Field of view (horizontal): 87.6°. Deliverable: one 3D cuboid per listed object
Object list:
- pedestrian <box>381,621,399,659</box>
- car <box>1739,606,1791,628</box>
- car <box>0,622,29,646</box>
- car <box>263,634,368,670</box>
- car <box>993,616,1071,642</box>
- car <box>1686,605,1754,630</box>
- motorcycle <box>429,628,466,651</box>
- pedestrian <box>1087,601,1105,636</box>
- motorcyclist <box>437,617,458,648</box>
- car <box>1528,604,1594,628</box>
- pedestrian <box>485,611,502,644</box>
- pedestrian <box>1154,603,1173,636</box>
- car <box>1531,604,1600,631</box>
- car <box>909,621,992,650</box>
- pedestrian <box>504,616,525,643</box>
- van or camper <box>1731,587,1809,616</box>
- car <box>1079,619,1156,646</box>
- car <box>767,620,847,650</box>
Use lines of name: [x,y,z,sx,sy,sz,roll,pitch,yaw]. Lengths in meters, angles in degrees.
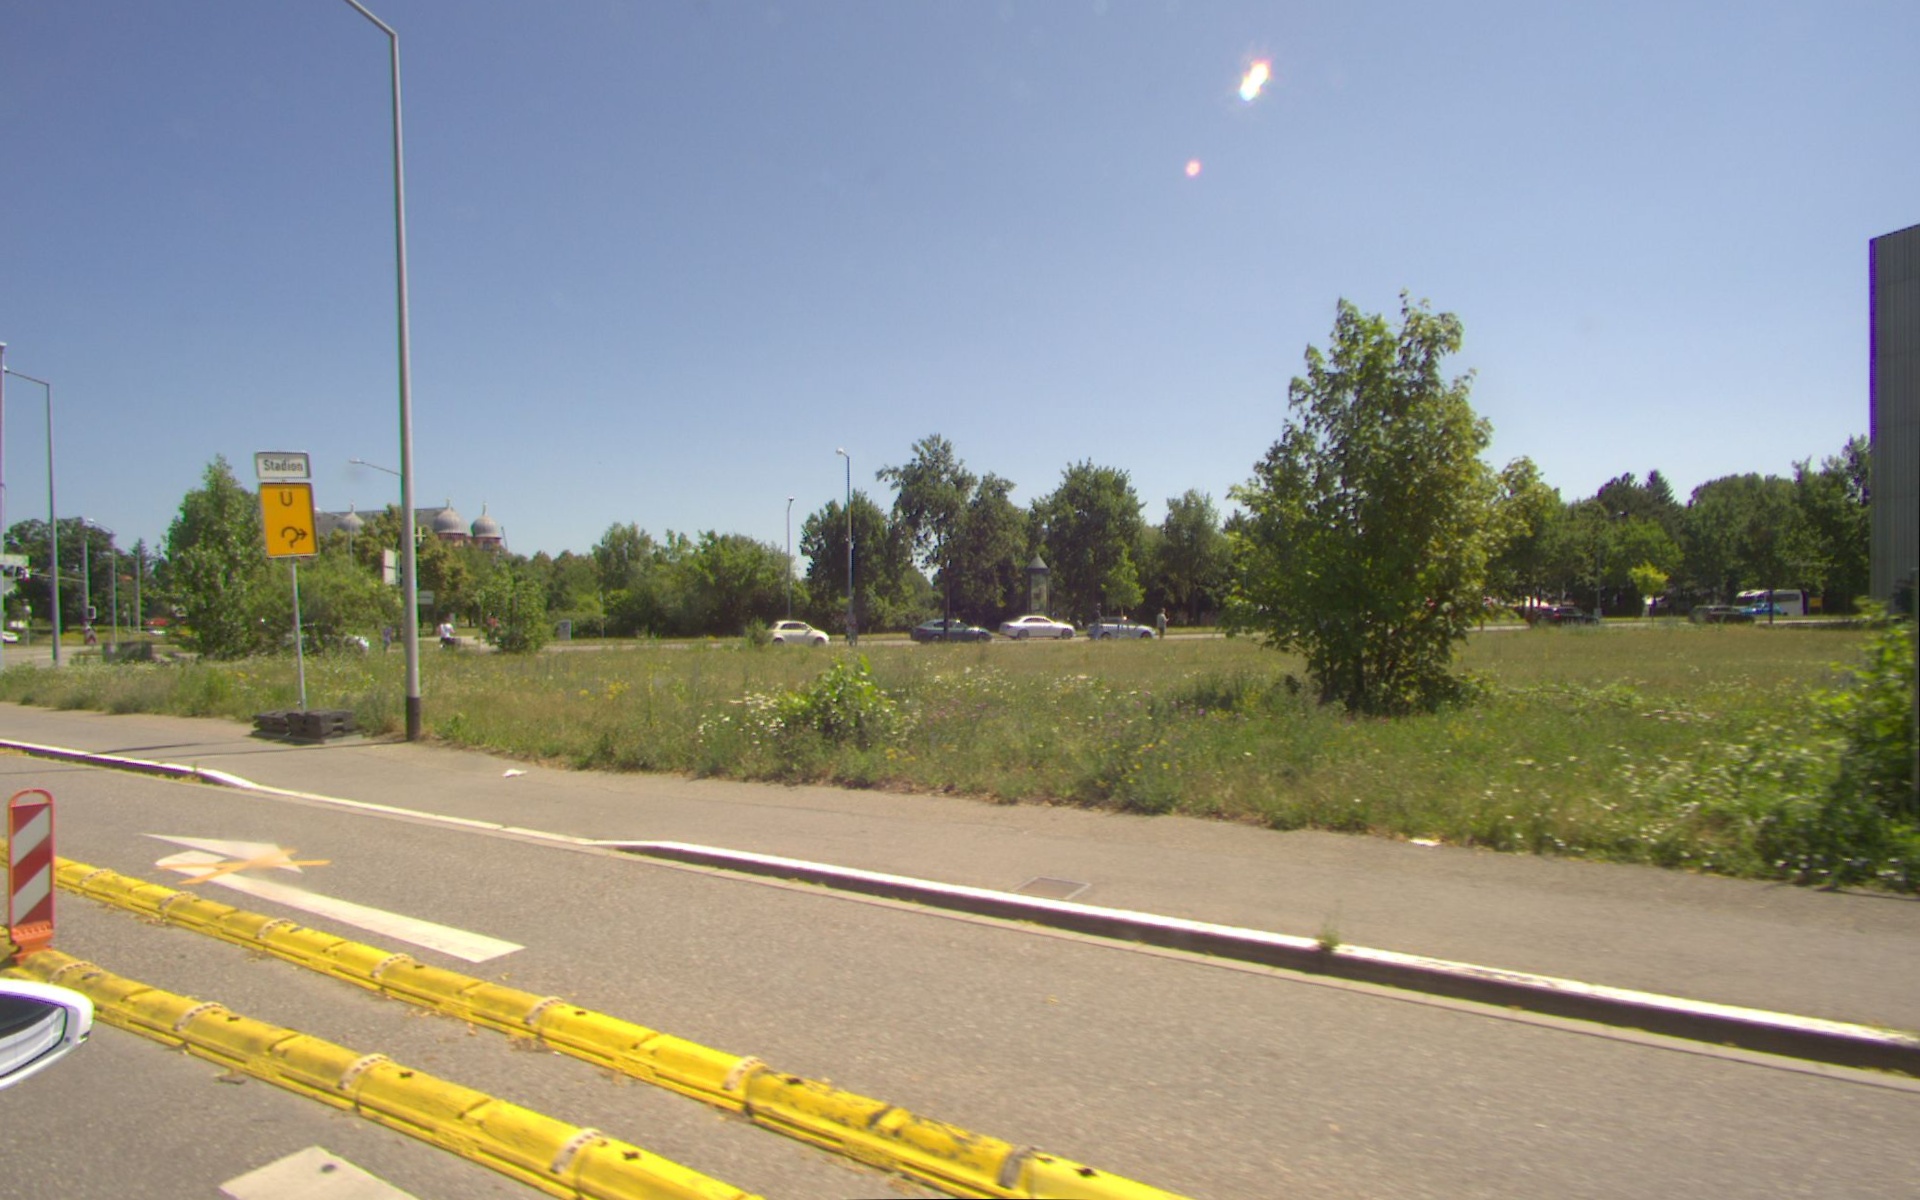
pedestrian: [-24.129,1.683,42.413,0.506,1.583,0.496,-1,-1,32]
car: [75.669,1.645,94.105,3.931,2.039,1.996,0,-1,-19]
car: [-75.629,2.686,77.325,5.084,1.810,2.024,-1,0,-12]
car: [-29.950,2.365,46.572,3.955,1.572,1.726,1,-2,-40]
car: [4.491,1.818,62.327,4.559,1.572,1.738,0,-1,-16]
car: [54.000,1.246,71.125,3.928,1.772,1.806,0,-1,-15]
motorcycle: [-21.887,1.682,42.779,0.619,0.982,1.709,0,-1,3]
pedestrian: [6.724,0.924,49.556,0.724,1.712,0.497,0,-1,-18]
motorcyclist: [-21.912,1.392,42.825,0.570,1.306,0.615,0,-1,3]
car: [44.142,1.172,73.612,3.924,1.772,1.808,0,-1,-10]
pedestrian: [-27.155,1.604,58.294,0.726,1.894,0.648,-1,-1,34]
pedestrian: [9.922,0.957,48.787,0.724,1.583,0.497,0,-1,-18]
car: [40.777,1.199,67.458,3.928,1.772,1.806,0,-1,-15]
car: [-0.548,1.983,56.029,4.337,1.571,1.735,1,-2,-23]
pedestrian: [-26.536,1.734,59.640,0.811,1.583,0.791,-1,-1,33]
van or camper: [79.994,0.158,98.863,7.383,2.728,2.508,0,-1,-19]
car: [9.103,1.854,58.096,3.999,1.524,1.999,0,-1,-12]
car: [-8.318,1.864,54.404,3.940,1.572,1.733,1,-1,-28]
